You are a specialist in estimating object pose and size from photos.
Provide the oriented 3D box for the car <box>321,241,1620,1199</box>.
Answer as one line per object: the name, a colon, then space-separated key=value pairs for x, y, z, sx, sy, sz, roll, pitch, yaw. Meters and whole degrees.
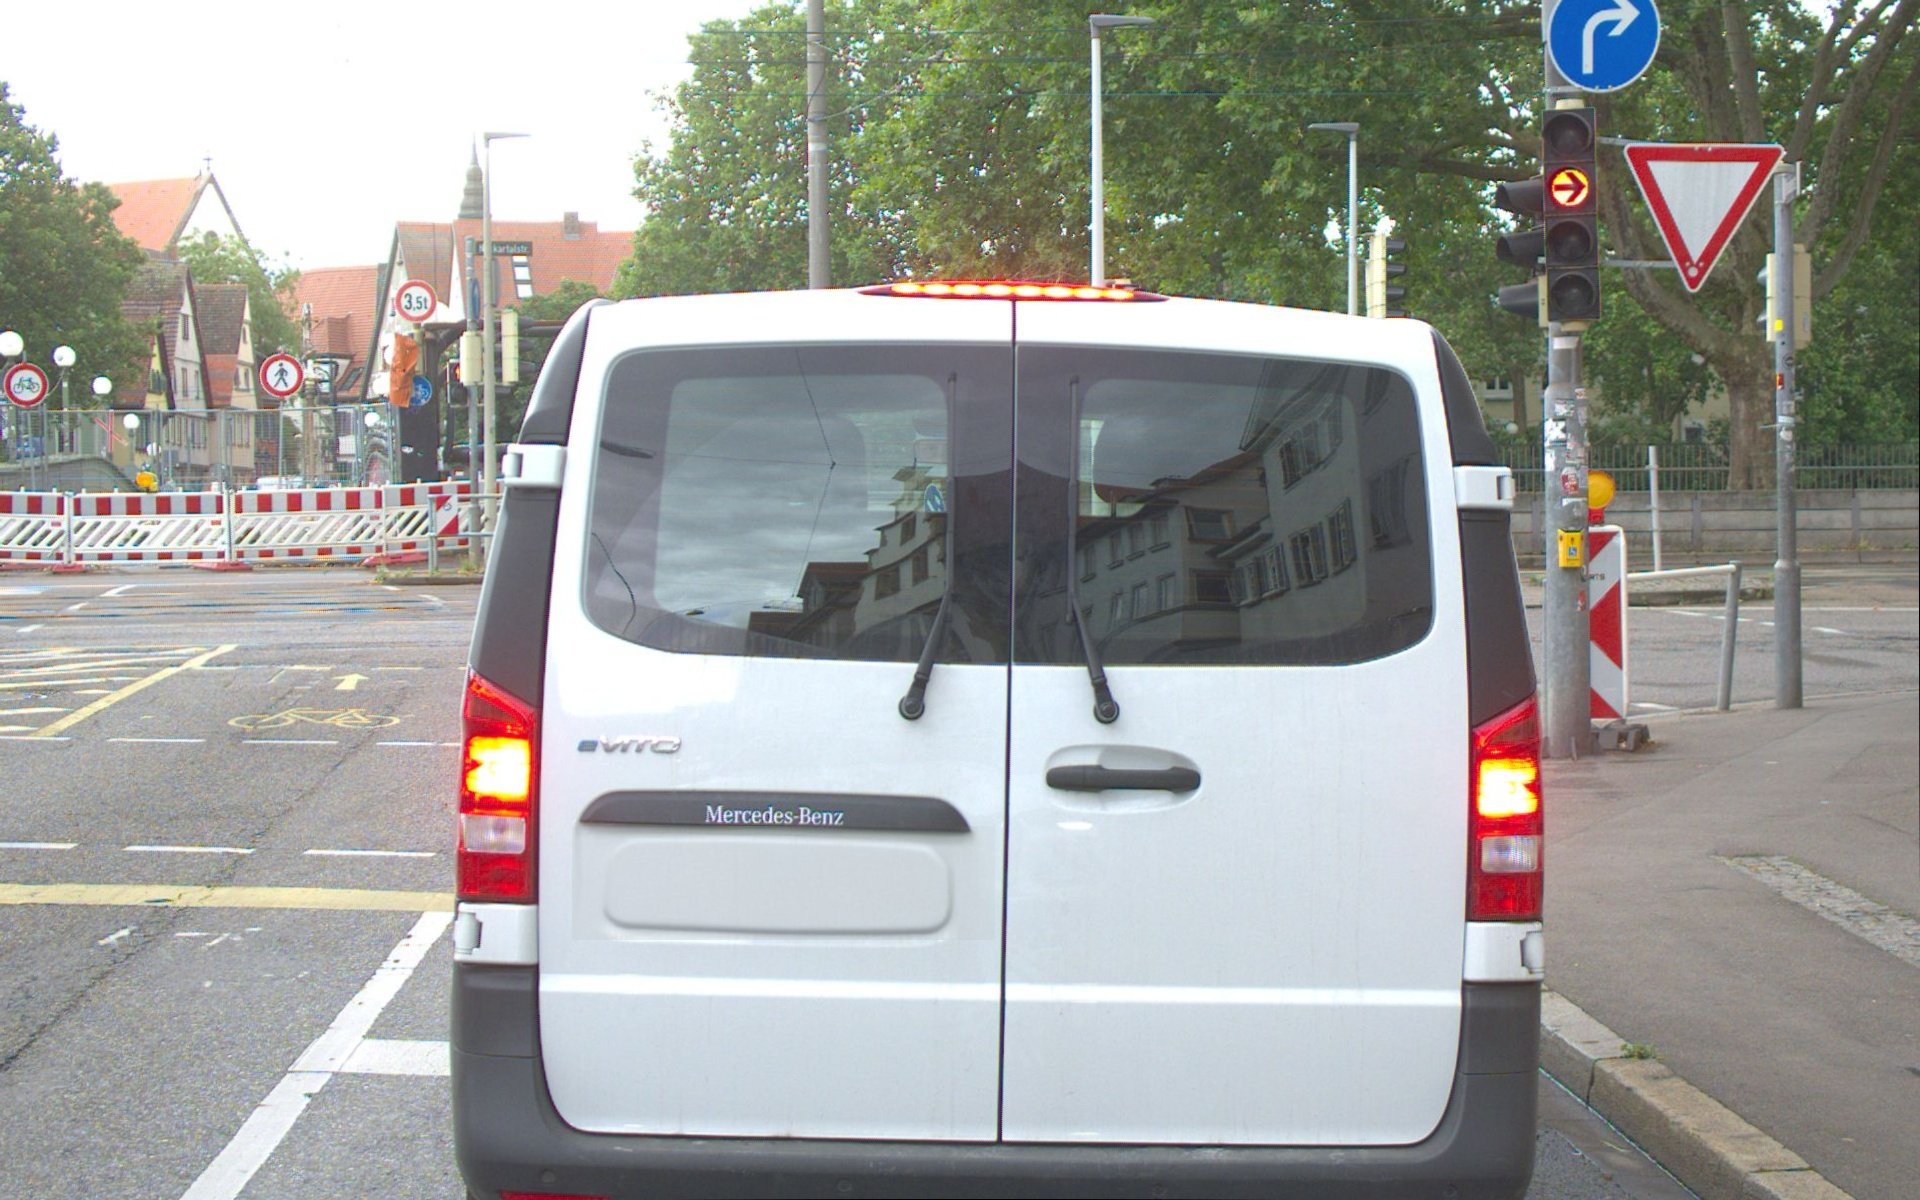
car: x=-0.100 y=0.314 z=7.439 sx=1.993 sy=1.916 sz=4.250 roll=1 pitch=3 yaw=-3
